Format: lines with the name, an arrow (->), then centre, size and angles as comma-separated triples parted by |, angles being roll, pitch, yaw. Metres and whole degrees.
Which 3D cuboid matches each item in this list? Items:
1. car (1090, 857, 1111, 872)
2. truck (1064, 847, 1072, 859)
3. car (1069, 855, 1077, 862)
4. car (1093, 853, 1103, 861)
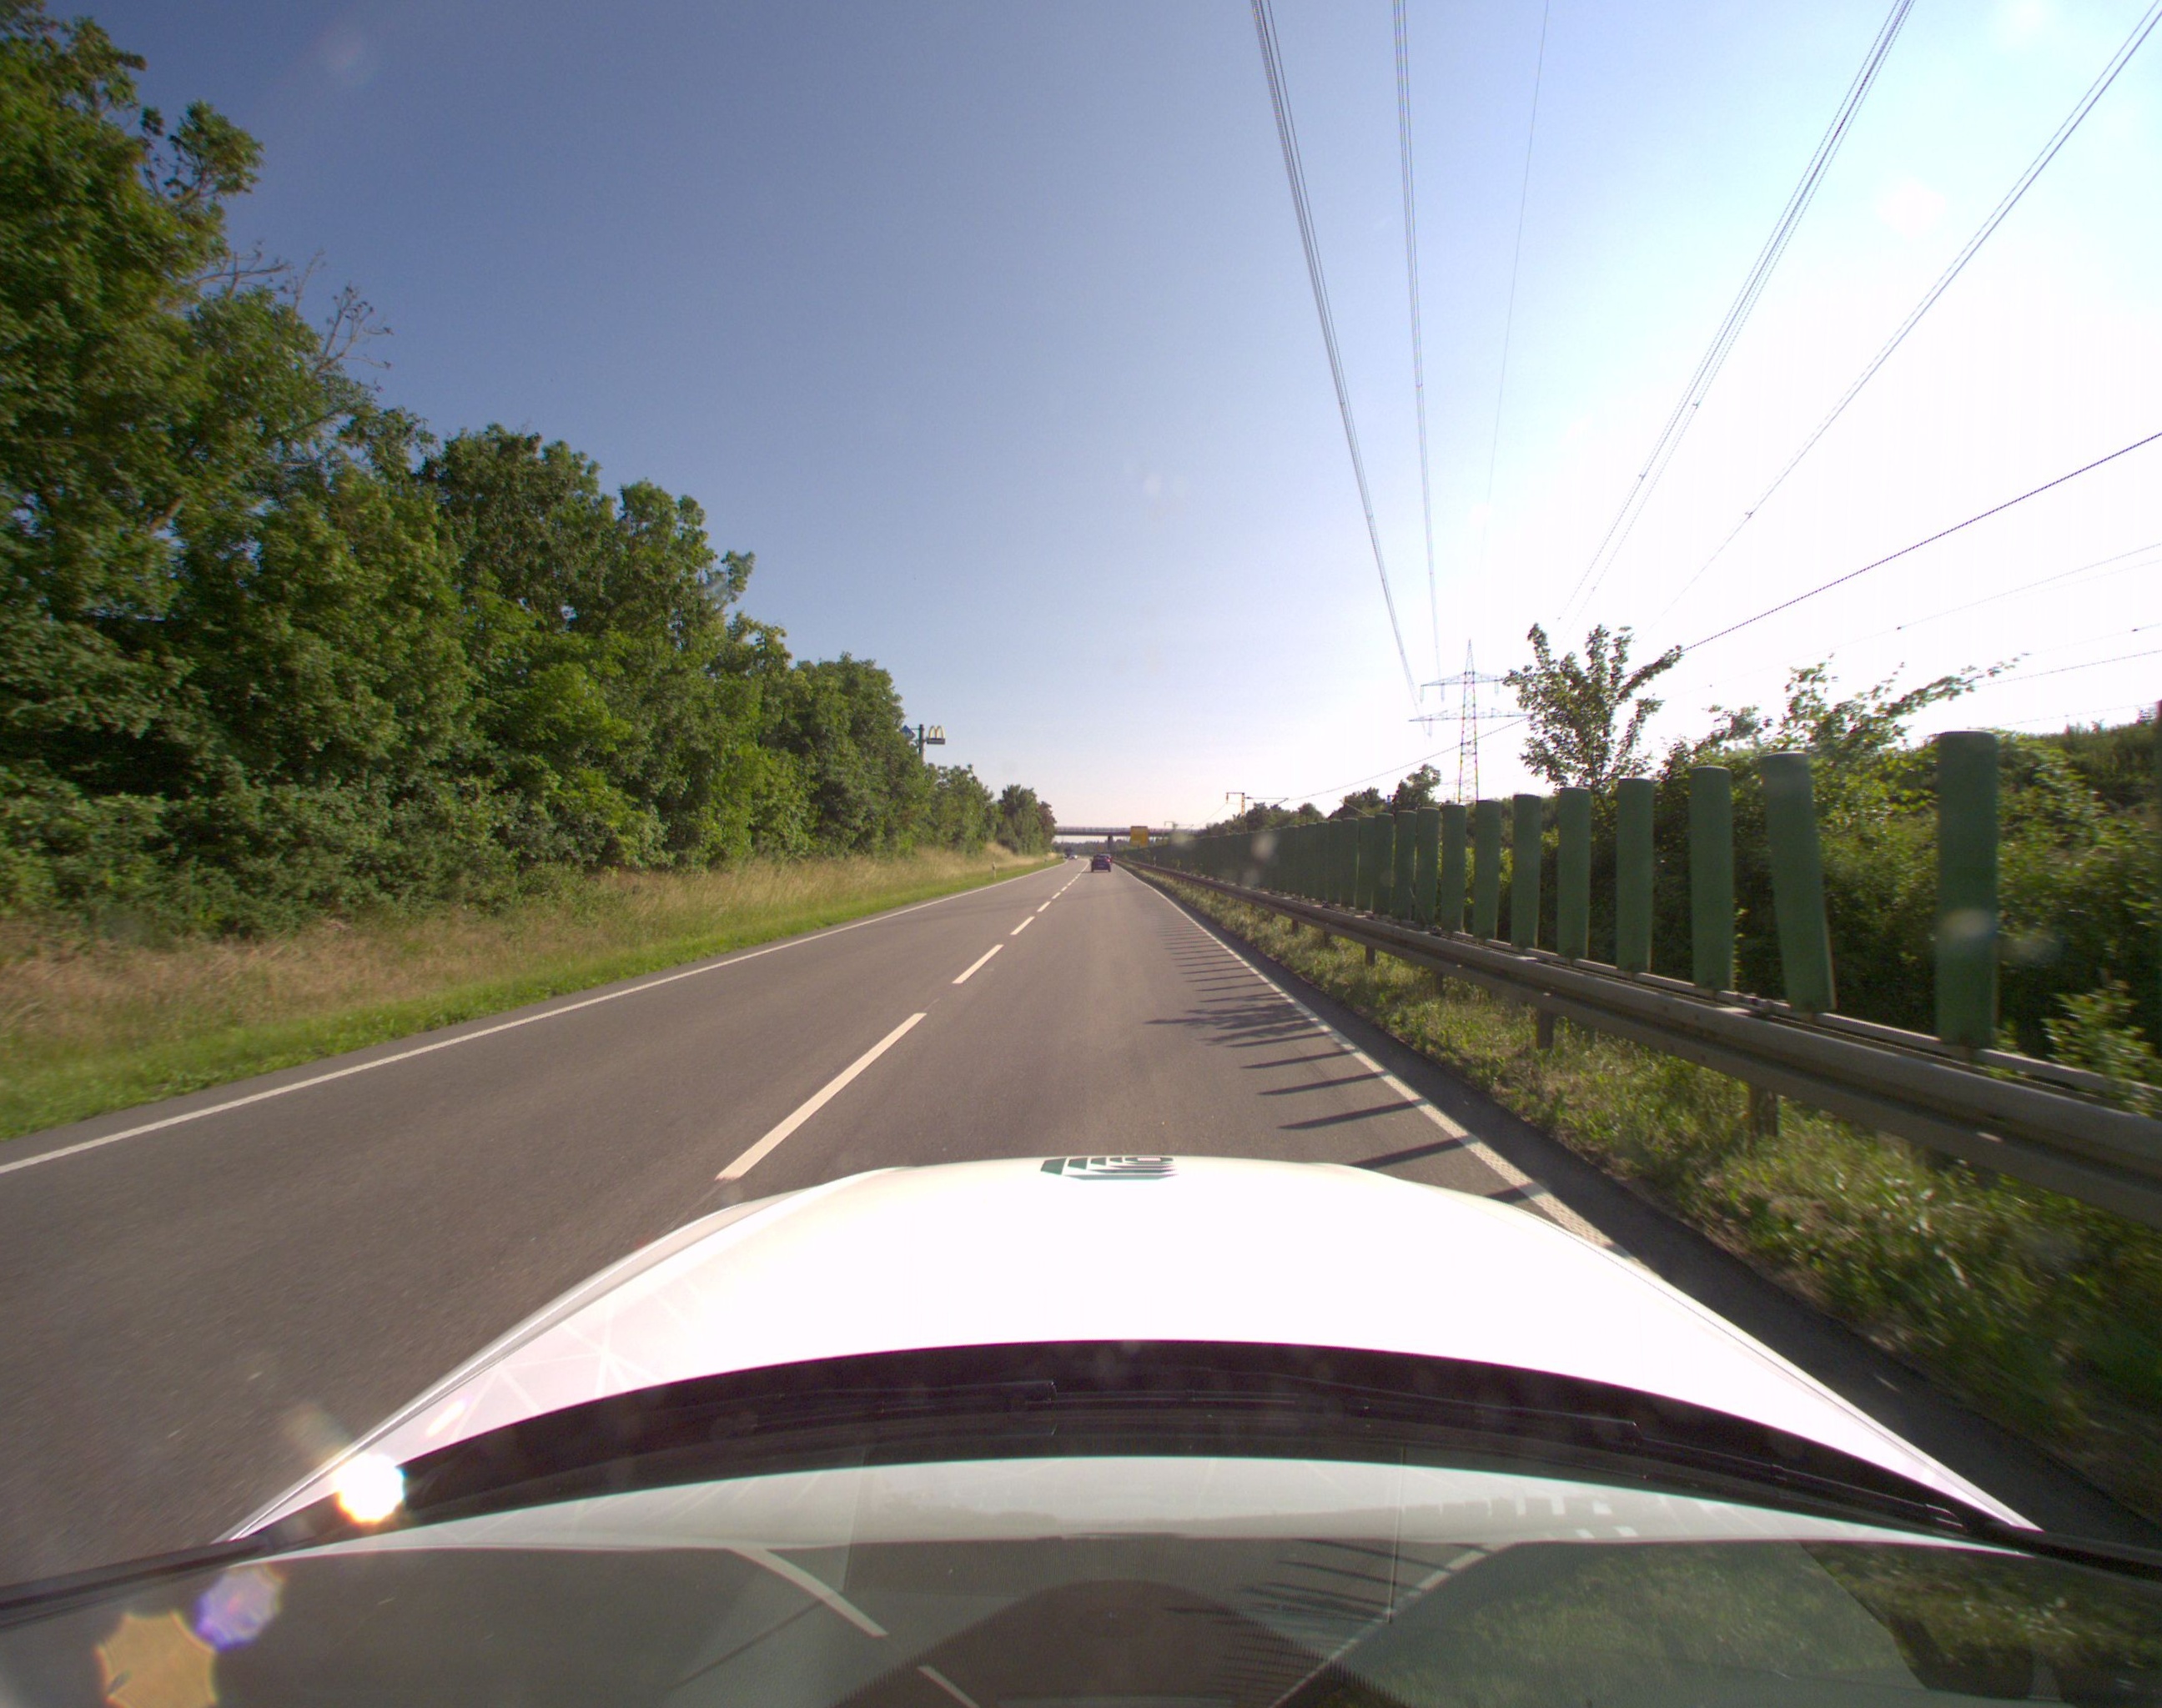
car -> 1.581, 0.855, 67.766 | 1.658, 1.261, 3.999 | 0, 0, 0
truck -> -4.185, -0.425, 260.163 | 2.551, 3.688, 10.486 | 0, 0, 0
car -> -1.882, 1.099, 193.057 | 1.790, 1.593, 3.999 | 0, 0, 0
car -> 3.394, 0.616, 159.308 | 1.889, 1.418, 3.999 | 0, 0, 0
